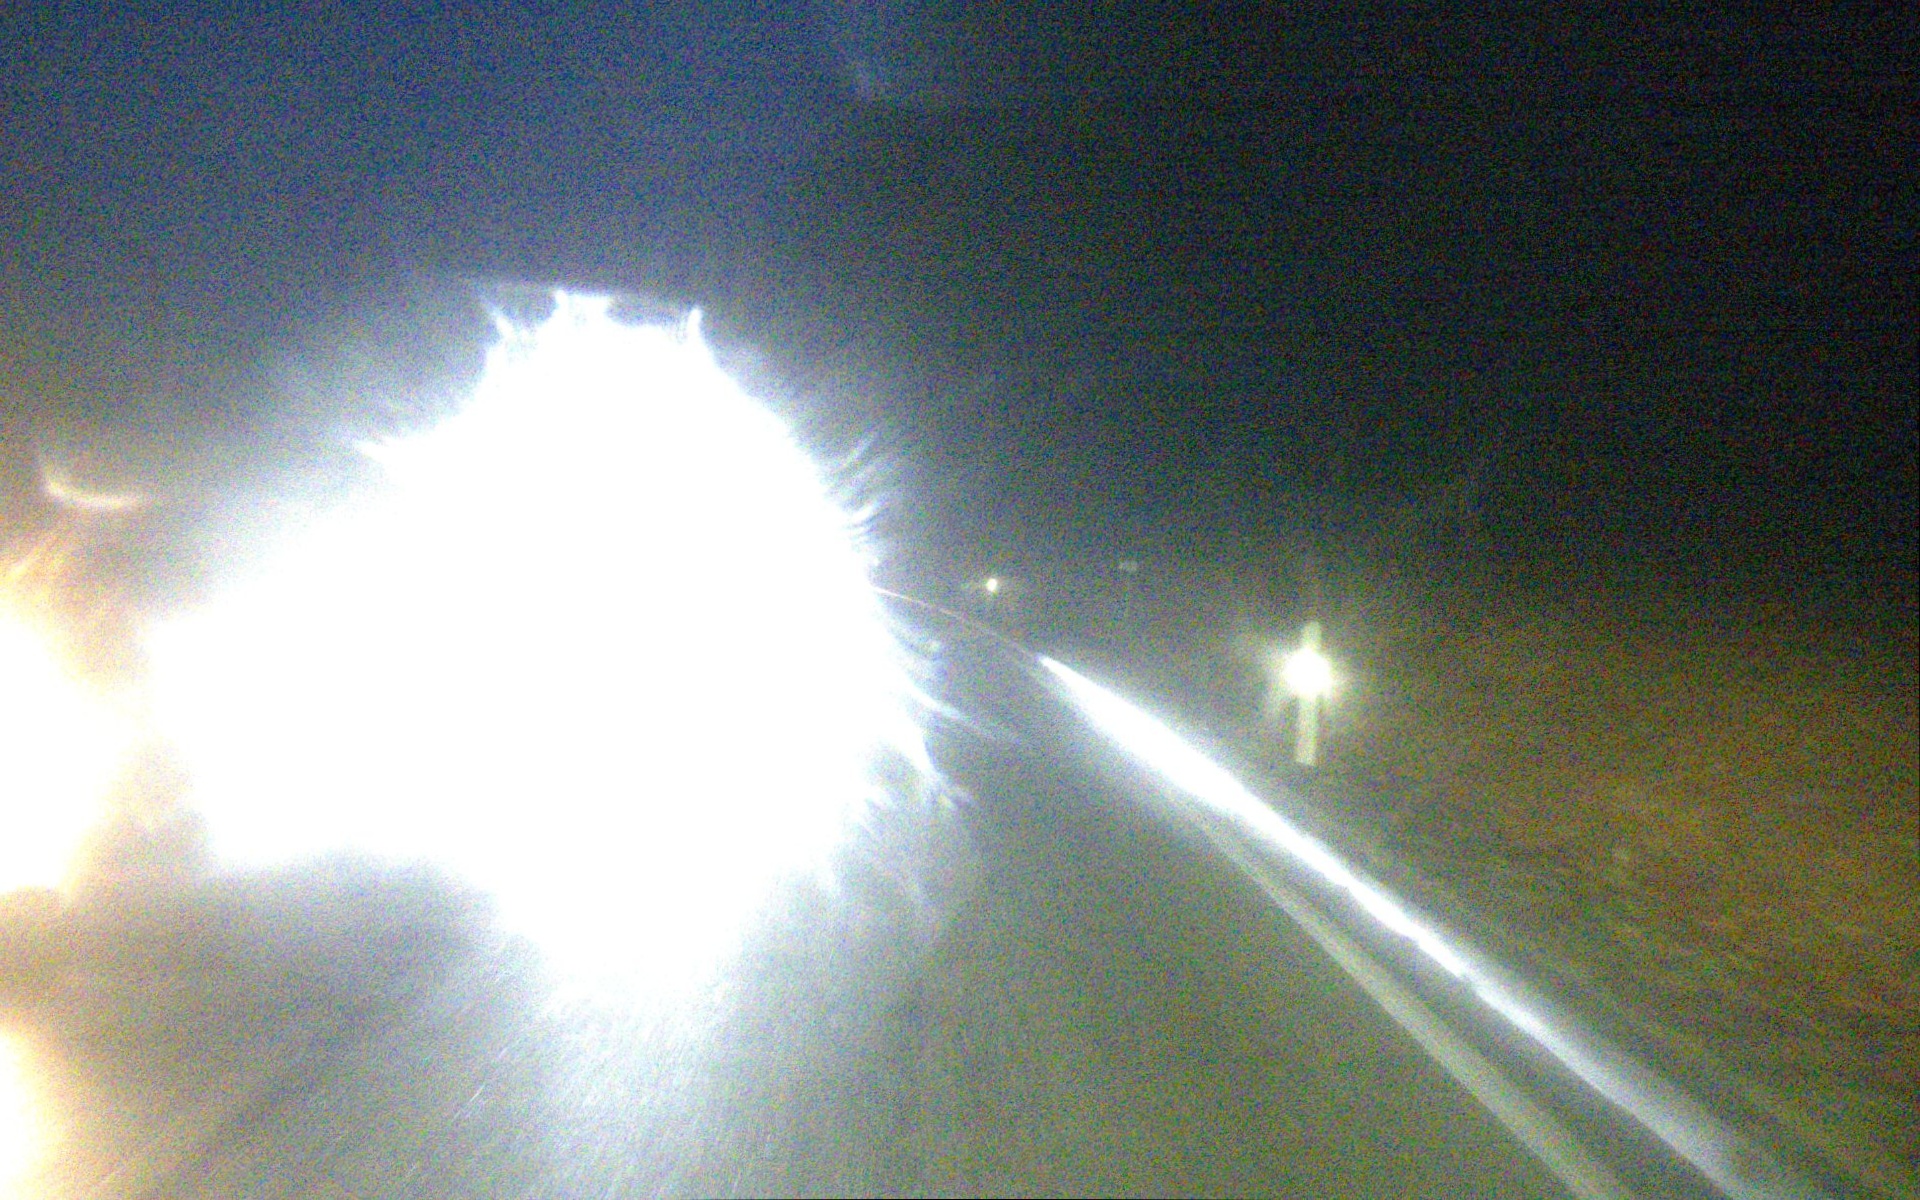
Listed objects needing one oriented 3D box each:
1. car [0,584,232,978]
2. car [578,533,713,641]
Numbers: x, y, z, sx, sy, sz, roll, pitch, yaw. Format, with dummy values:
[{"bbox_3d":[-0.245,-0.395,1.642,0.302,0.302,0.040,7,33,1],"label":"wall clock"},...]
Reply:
[{"bbox_3d":[-4.163,0.642,14.191,1.581,1.381,3.585,1,1,-1],"label":"car"},{"bbox_3d":[-4.741,-0.206,52.264,1.817,1.550,3.872,-1,1,-2],"label":"car"}]
